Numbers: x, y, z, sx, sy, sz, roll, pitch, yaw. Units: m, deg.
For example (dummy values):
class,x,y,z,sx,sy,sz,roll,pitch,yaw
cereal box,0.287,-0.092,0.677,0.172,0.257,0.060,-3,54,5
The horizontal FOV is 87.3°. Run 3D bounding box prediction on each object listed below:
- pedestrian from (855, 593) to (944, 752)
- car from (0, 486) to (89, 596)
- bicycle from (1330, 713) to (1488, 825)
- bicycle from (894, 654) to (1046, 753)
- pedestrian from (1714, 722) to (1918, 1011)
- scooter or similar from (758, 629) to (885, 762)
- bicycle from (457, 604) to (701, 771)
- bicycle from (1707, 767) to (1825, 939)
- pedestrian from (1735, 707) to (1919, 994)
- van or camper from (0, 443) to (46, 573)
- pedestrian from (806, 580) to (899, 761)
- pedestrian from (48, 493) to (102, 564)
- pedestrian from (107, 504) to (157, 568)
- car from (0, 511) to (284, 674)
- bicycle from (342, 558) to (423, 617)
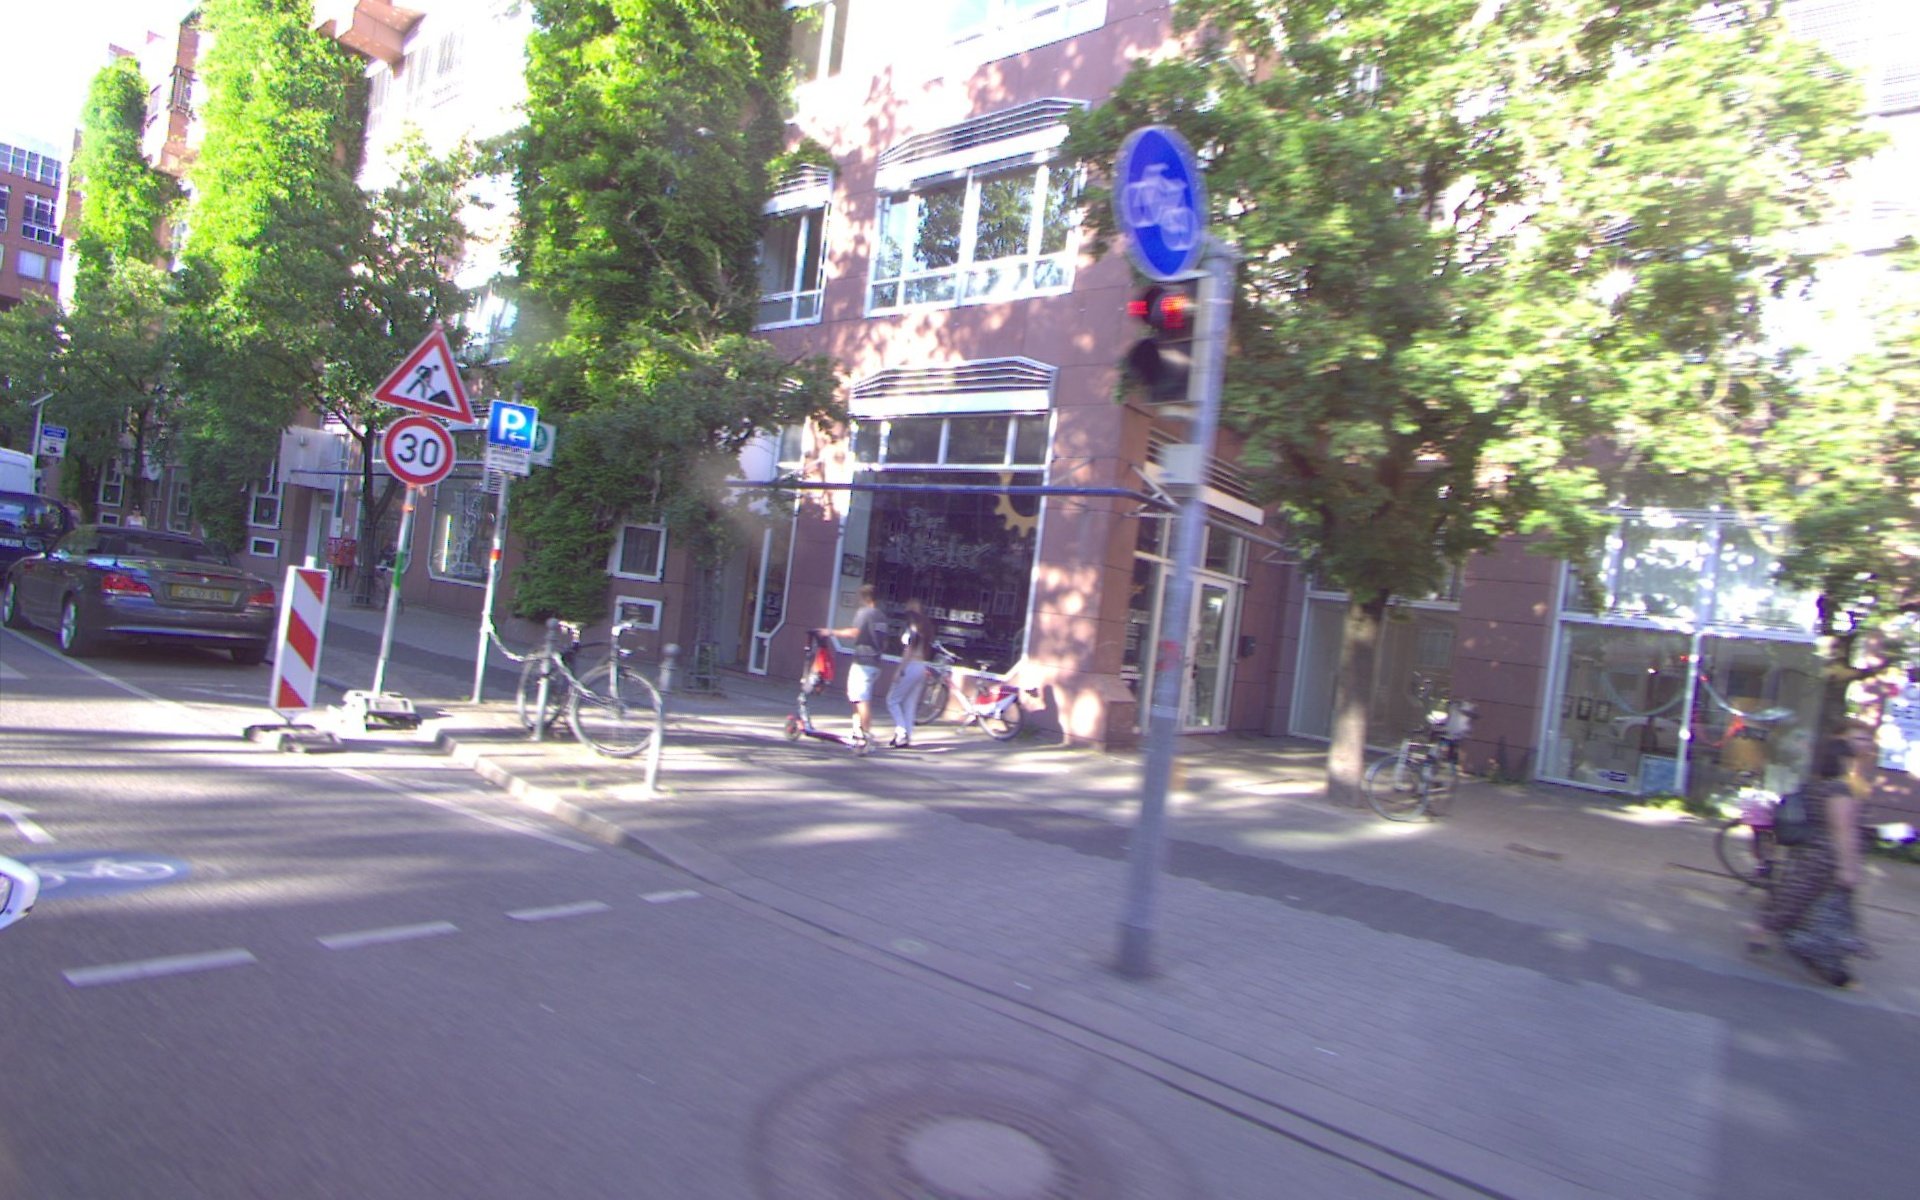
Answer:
class,x,y,z,sx,sy,sz,roll,pitch,yaw
pedestrian,-0.686,0.815,11.413,0.668,1.693,0.460,8,1,28
car,-16.763,-1.162,17.433,4.418,1.639,1.620,7,0,38
bicycle,5.076,1.914,11.343,1.736,1.066,0.732,8,0,-35
bicycle,0.114,1.295,12.832,1.723,0.951,0.738,8,0,33
pedestrian,5.435,1.640,6.444,0.736,1.598,0.645,8,1,32
scooter or similar,-1.447,0.971,10.419,1.229,1.172,0.394,8,1,34
bicycle,-3.150,0.691,8.333,1.719,1.066,0.739,8,0,19
bicycle,7.297,2.237,9.167,0.568,1.242,1.568,8,0,34
pedestrian,6.070,1.686,7.046,0.755,1.755,0.701,8,1,32
van or camper,-21.908,-2.198,21.820,5.687,2.571,2.048,7,0,39
pedestrian,-1.127,0.732,10.680,0.598,1.785,0.788,7,1,8
pedestrian,-22.325,-1.794,25.392,0.538,1.665,0.763,7,0,31
pedestrian,-20.569,-1.583,25.012,0.761,1.462,0.772,8,-1,-36
car,-9.502,-0.140,11.462,4.246,1.318,1.620,7,0,37
bicycle,-12.547,-0.272,21.840,1.882,1.033,0.618,7,0,31
